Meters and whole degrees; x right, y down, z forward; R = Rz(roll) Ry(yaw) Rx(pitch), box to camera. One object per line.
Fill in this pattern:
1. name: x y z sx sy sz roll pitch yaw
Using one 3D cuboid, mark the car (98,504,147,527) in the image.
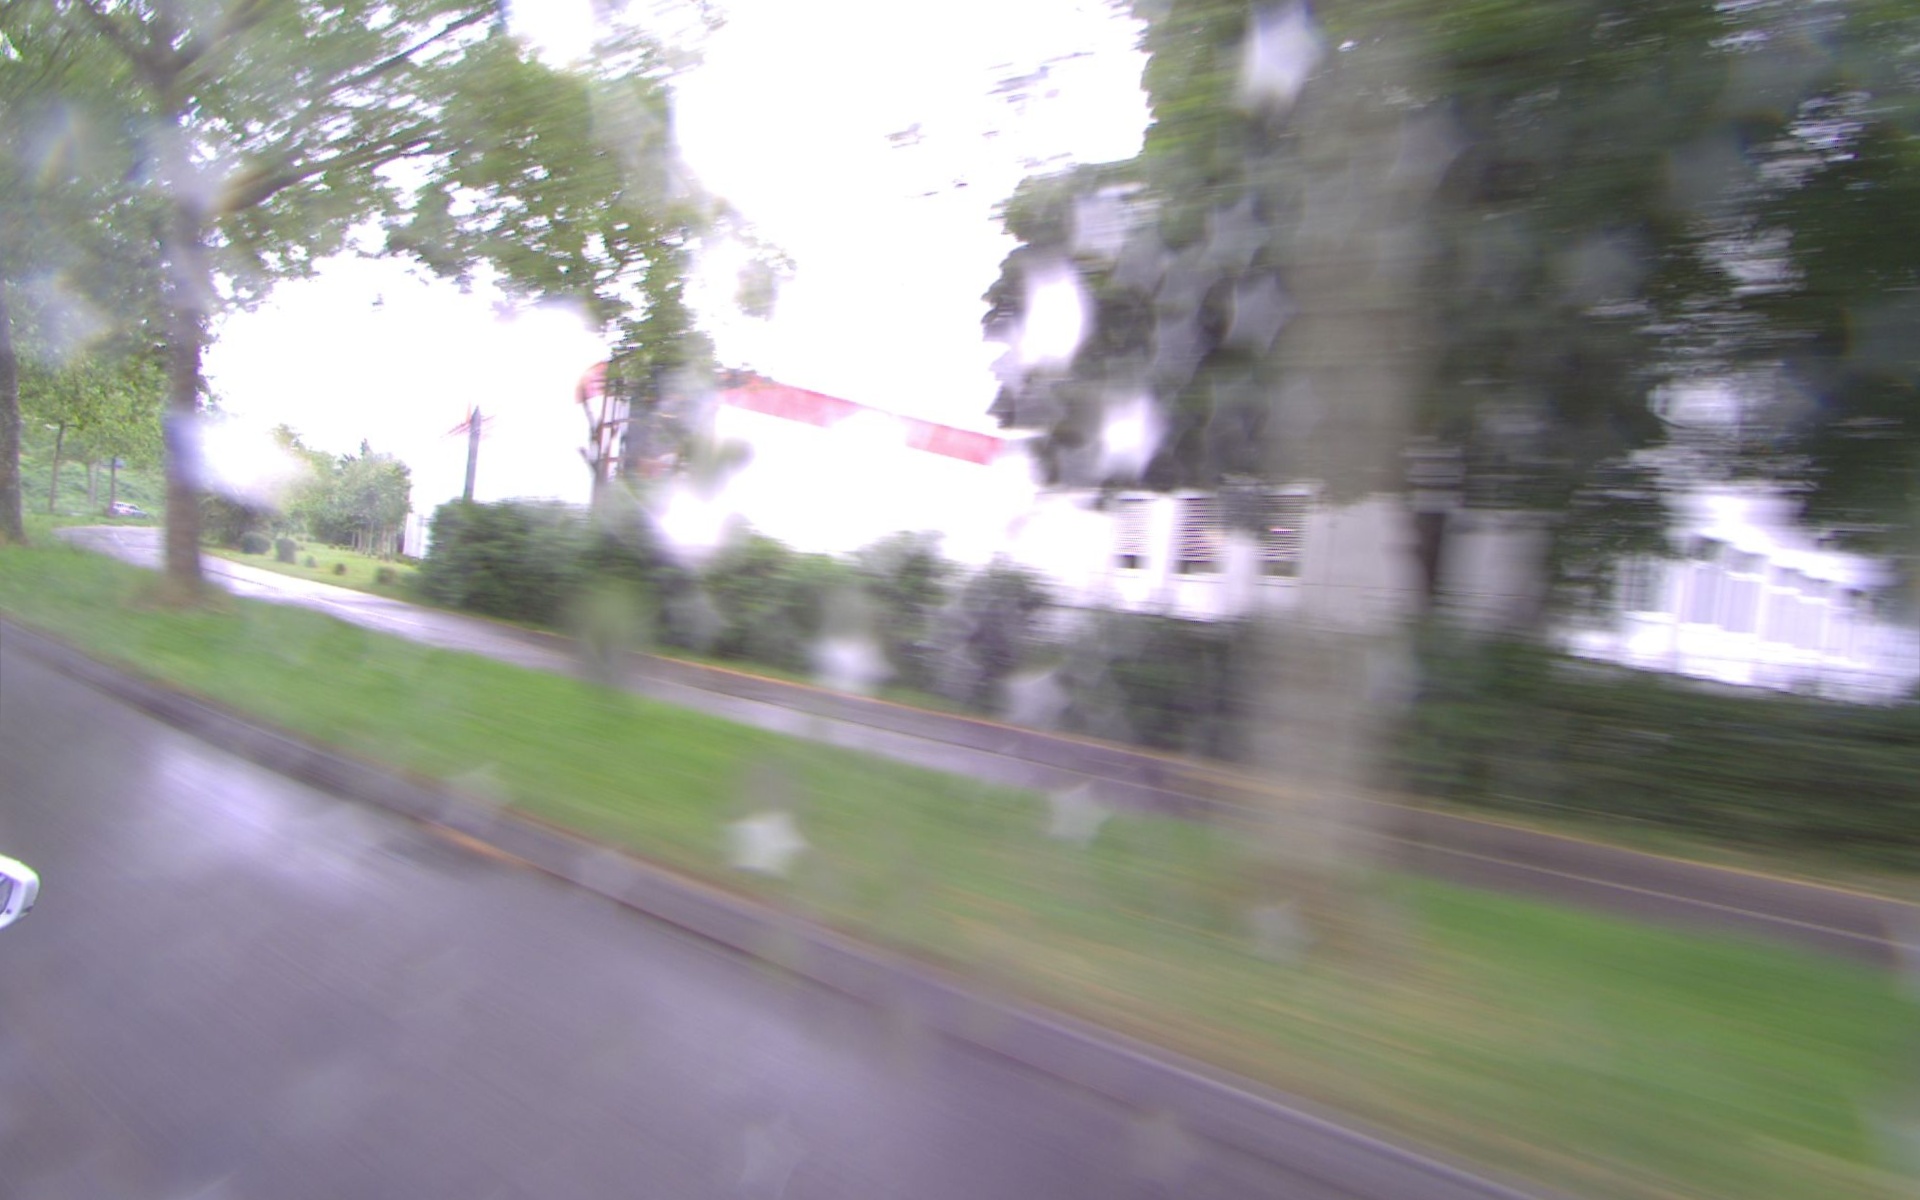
1. car: -71.994 -7.247 86.585 1.760 1.574 3.983 9 -1 -19
